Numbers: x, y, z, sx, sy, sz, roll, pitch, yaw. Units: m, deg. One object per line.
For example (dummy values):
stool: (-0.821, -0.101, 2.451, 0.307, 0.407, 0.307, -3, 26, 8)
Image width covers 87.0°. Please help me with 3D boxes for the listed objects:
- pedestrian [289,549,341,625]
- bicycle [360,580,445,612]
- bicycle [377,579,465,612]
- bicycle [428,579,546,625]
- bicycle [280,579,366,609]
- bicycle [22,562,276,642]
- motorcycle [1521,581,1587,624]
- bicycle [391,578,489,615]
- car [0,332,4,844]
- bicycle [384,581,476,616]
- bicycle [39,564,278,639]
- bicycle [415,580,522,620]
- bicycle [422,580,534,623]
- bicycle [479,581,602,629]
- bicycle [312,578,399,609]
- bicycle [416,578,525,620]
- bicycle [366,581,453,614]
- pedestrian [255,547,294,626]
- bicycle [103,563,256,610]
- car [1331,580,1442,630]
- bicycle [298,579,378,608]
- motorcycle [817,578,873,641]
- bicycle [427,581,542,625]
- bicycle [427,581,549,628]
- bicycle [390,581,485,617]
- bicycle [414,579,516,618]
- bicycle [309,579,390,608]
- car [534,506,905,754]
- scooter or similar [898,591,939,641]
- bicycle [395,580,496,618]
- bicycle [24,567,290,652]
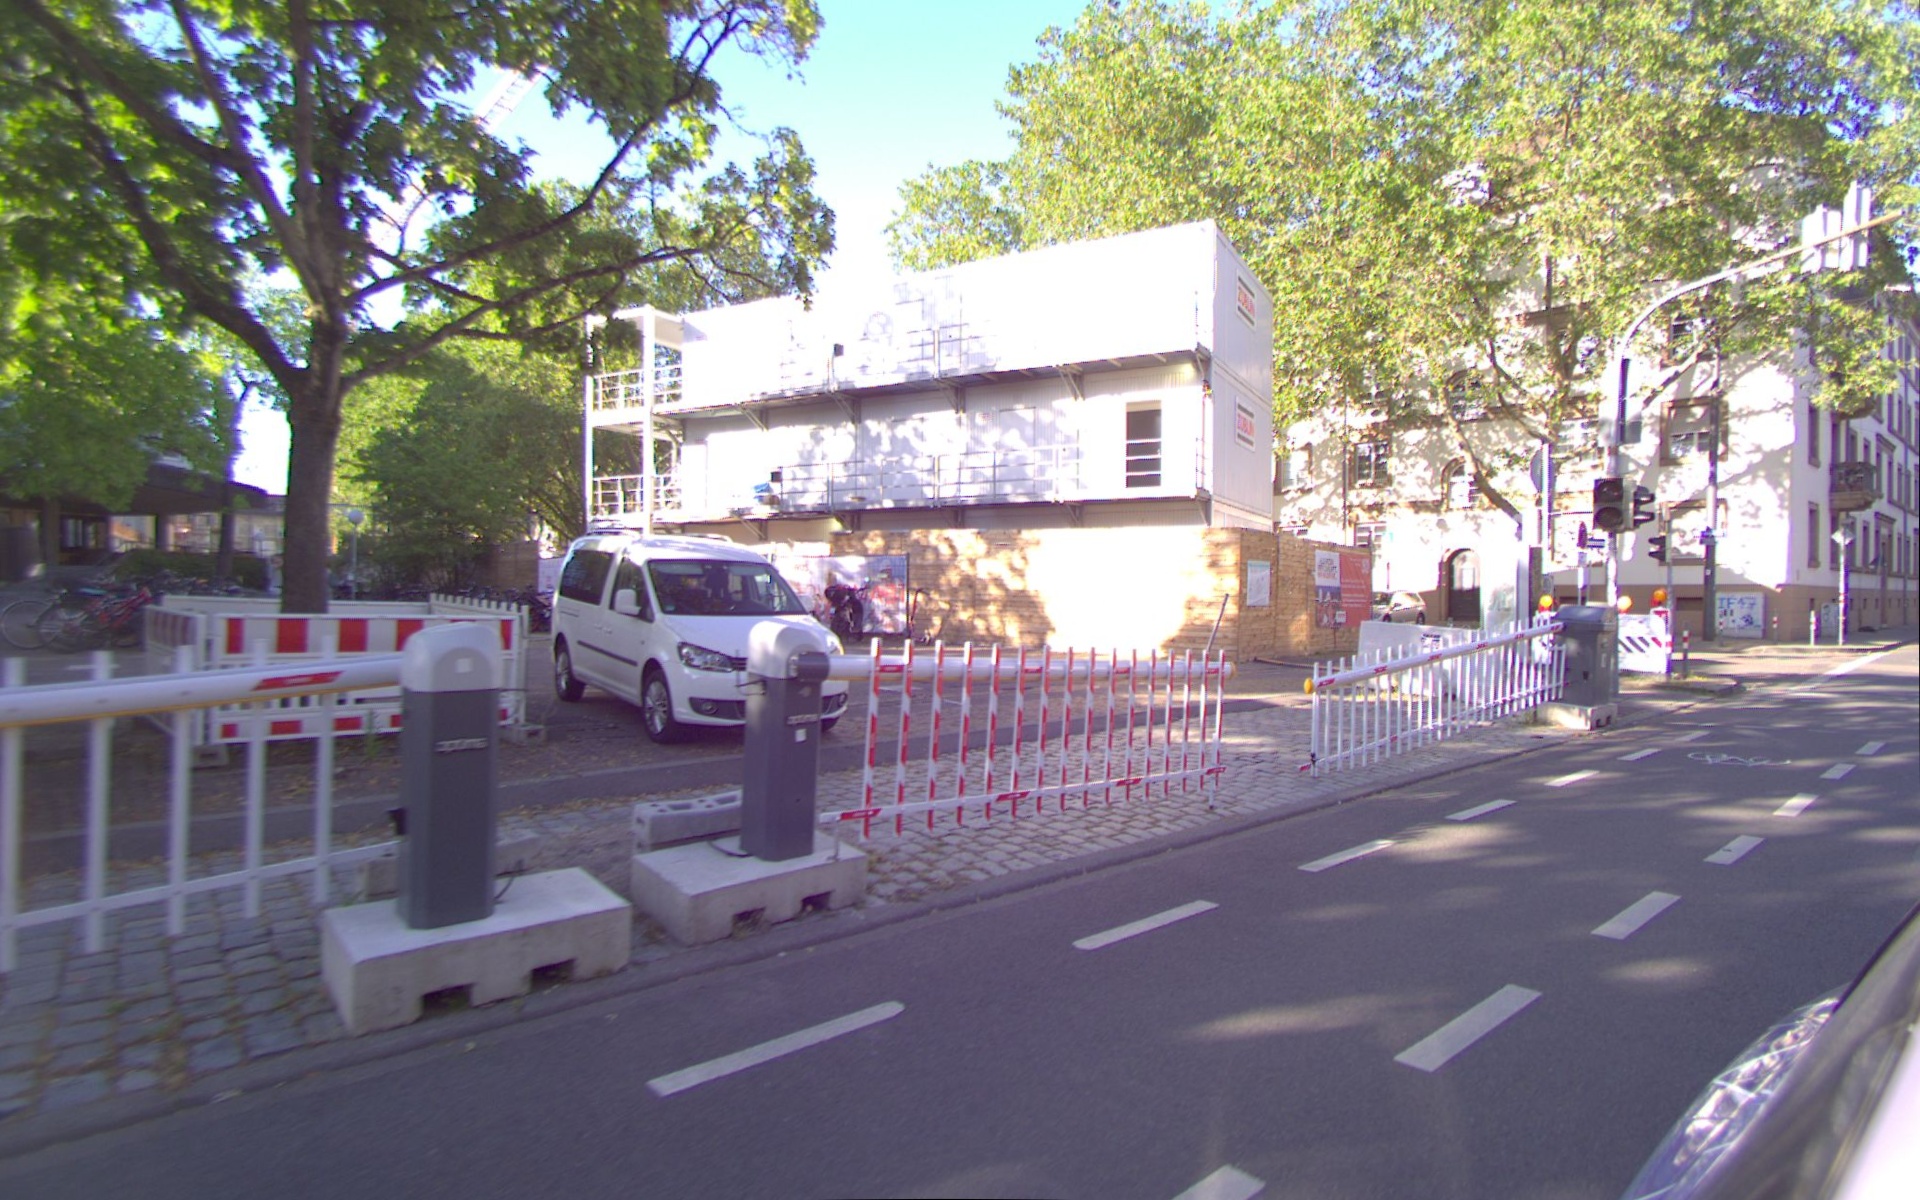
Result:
pedestrian: (-17.616, -0.366, 27.649, 1.020, 2.039, 0.796, 1, 1, 25)
bicycle: (-21.062, -0.169, 38.246, 2.783, 1.162, 0.822, 0, 1, -32)
bicycle: (-19.463, -0.162, 36.574, 2.783, 1.162, 0.822, 0, 1, -32)
bicycle: (-12.639, 0.033, 27.073, 2.783, 1.162, 0.822, 0, 1, -32)
bicycle: (-25.122, -0.258, 39.950, 2.787, 1.162, 0.821, -1, 1, -39)
bicycle: (-12.556, 0.013, 15.853, 3.028, 1.162, 0.822, 0, 1, -32)
motorcycle: (19.138, 0.056, 32.643, 0.507, 1.349, 1.759, 0, 1, -43)
bicycle: (-16.920, -0.128, 32.990, 2.783, 1.162, 0.822, 0, 1, -32)
car: (-7.234, -0.214, 6.217, 1.967, 2.561, 5.371, 0, 4, -43)
bicycle: (-18.543, -0.068, 35.433, 2.783, 1.162, 0.822, 0, 1, -32)
bicycle: (-13.184, -0.001, 16.818, 3.028, 1.162, 0.822, 0, 1, -32)
bicycle: (-14.622, -0.017, 30.137, 2.783, 1.162, 0.822, 0, 1, -32)
bicycle: (-13.595, 0.035, 28.604, 2.783, 1.162, 0.822, 0, 1, -32)
bicycle: (-10.587, 0.099, 25.575, 2.783, 1.162, 0.822, 0, 1, -32)
bicycle: (-23.293, -0.261, 39.019, 2.787, 1.162, 0.821, -1, 1, -39)
bicycle: (-14.170, -0.047, 29.330, 2.783, 1.162, 0.822, 0, 1, -32)
bicycle: (-20.322, -0.111, 37.371, 2.783, 1.162, 0.822, 0, 1, -32)
pedestrian: (-18.122, -0.358, 26.781, 0.787, 2.039, 0.940, 0, 1, -30)
bicycle: (-19.818, -0.349, 25.809, 3.028, 1.162, 0.822, 0, 1, -32)
car: (14.363, 0.125, 33.980, 4.400, 1.590, 1.725, -1, 1, -42)
bicycle: (-26.173, -0.295, 42.603, 2.787, 1.162, 0.821, -1, 1, -39)
motorcycle: (-2.421, 0.166, 21.587, 0.535, 1.273, 2.205, 1, 1, 11)
bicycle: (-13.052, 0.057, 27.835, 2.783, 1.162, 0.822, 0, 1, -32)
bicycle: (-12.167, 0.089, 26.139, 2.783, 1.162, 0.822, 0, 1, -32)
bicycle: (-17.438, -0.045, 33.804, 2.783, 1.162, 0.822, 0, 1, -32)
bicycle: (-15.287, -0.063, 31.297, 2.783, 1.162, 0.822, 0, 1, -32)
bicycle: (-24.994, -0.266, 41.482, 2.787, 1.162, 0.821, -1, 1, -39)
car: (-2.741, 0.113, 10.401, 1.973, 1.915, 4.948, 0, 3, -35)
scooter or similar: (-0.912, 0.328, 21.926, 0.377, 1.033, 1.491, 0, 1, -22)
bicycle: (-16.334, -0.049, 32.162, 2.783, 1.162, 0.822, 0, 1, -32)
bicycle: (-11.853, 0.112, 15.129, 3.028, 1.162, 0.822, 0, 1, -32)
